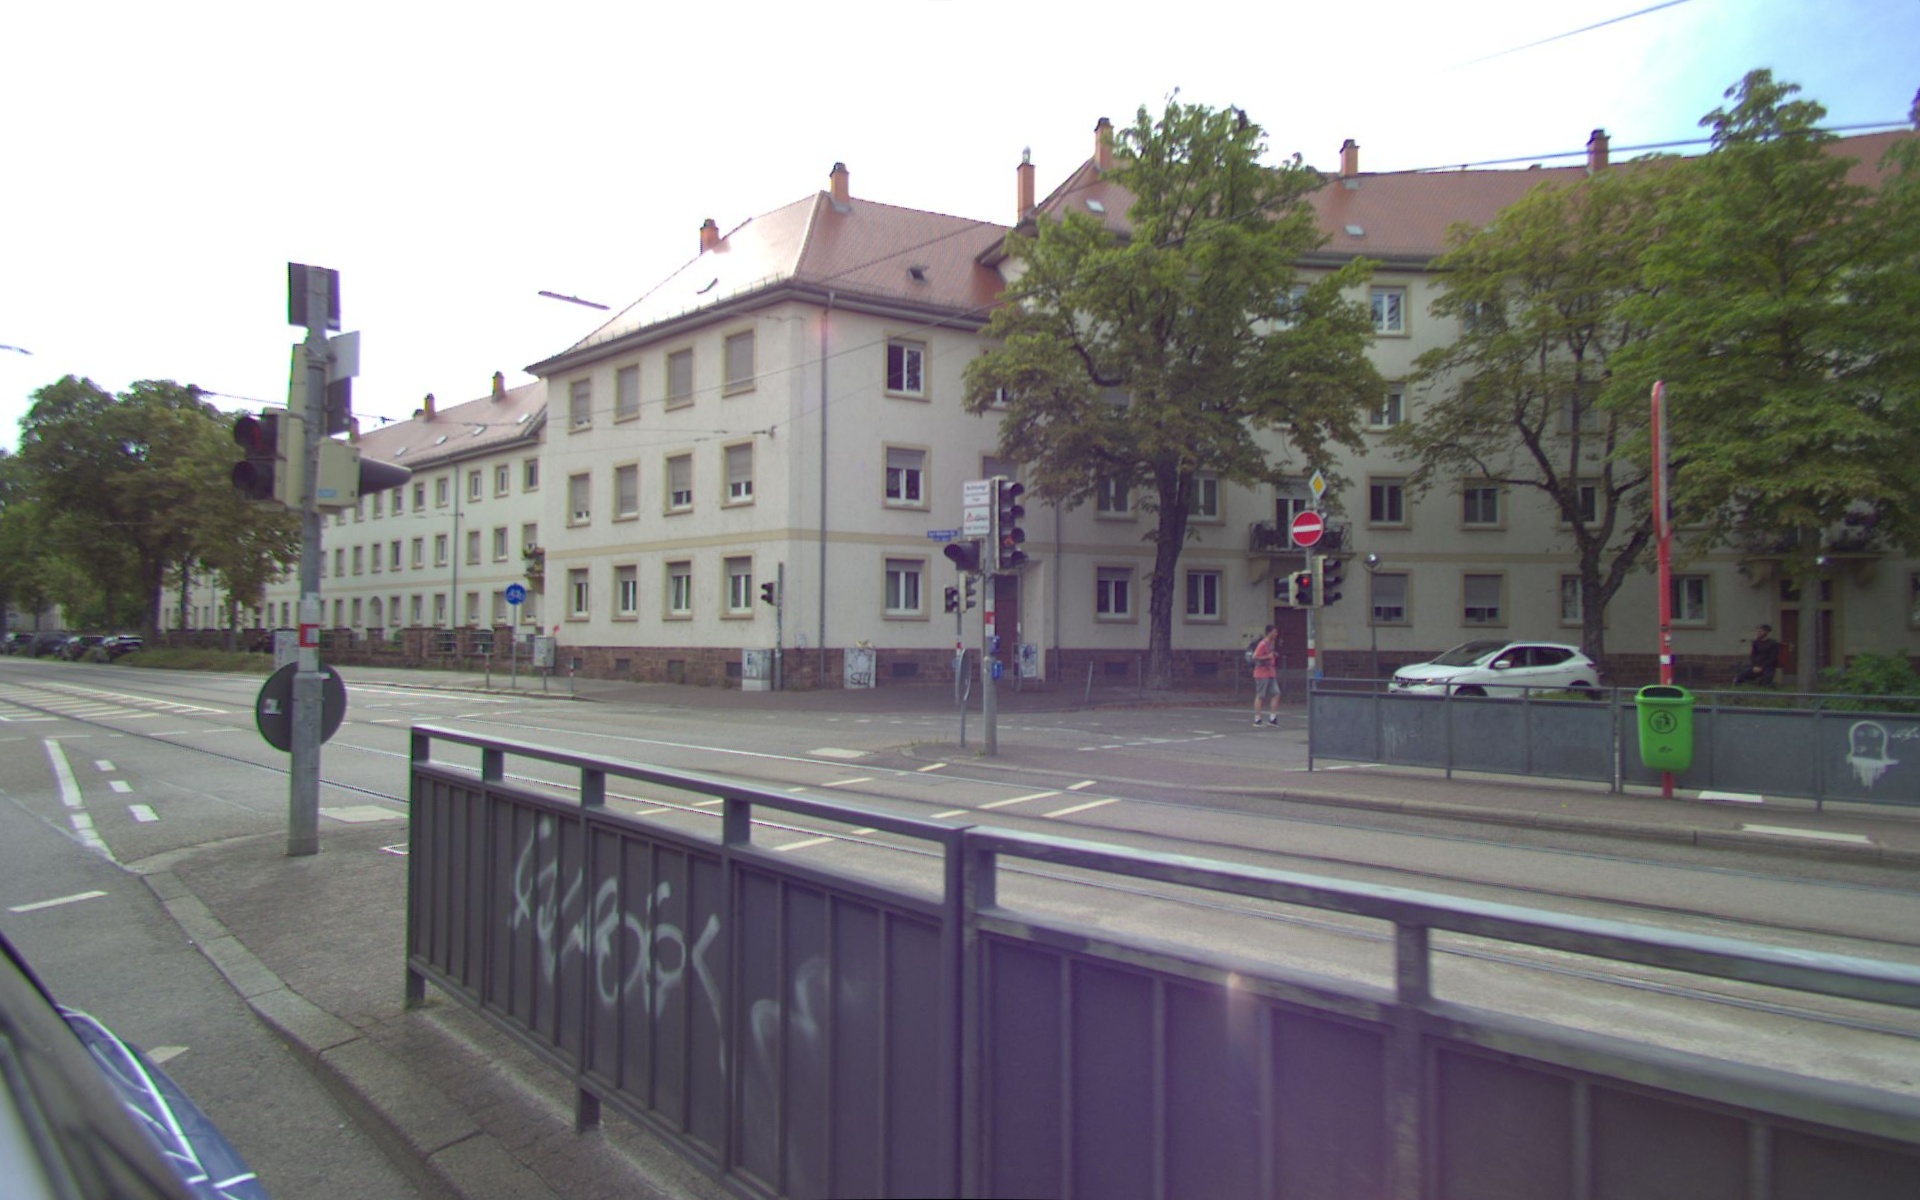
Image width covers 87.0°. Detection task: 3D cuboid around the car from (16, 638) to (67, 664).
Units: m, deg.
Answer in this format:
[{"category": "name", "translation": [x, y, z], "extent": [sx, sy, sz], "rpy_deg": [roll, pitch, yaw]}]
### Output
[{"category": "car", "translation": [-59.368, 3.262, 65.389], "extent": [4.295, 1.624, 1.768], "rpy_deg": [-2, -4, 39]}]

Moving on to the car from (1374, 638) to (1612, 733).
[{"category": "car", "translation": [11.058, 1.757, 21.113], "extent": [4.091, 1.734, 1.845], "rpy_deg": [3, -2, -11]}]

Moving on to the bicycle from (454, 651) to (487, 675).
[{"category": "bicycle", "translation": [-18.910, 2.434, 39.109], "extent": [1.670, 0.922, 0.473], "rpy_deg": [-2, -4, 40]}]

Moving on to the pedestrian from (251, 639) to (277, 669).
[{"category": "pedestrian", "translation": [-34.273, 2.654, 49.824], "extent": [0.731, 1.476, 0.825], "rpy_deg": [-2, -4, 34]}]

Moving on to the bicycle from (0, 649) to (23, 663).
[{"category": "bicycle", "translation": [-70.054, 4.113, 74.339], "extent": [0.670, 0.978, 1.655], "rpy_deg": [-1, -3, 30]}]

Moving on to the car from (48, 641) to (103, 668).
[{"category": "car", "translation": [-50.629, 3.100, 57.922], "extent": [4.295, 1.434, 1.680], "rpy_deg": [-2, -2, 39]}]

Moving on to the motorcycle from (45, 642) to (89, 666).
[{"category": "motorcycle", "translation": [-53.515, 3.205, 60.639], "extent": [0.590, 1.269, 1.850], "rpy_deg": [-2, 2, 35]}]

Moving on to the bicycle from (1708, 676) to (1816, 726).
[{"category": "bicycle", "translation": [16.056, 2.021, 20.288], "extent": [1.560, 0.944, 0.606], "rpy_deg": [0, -3, 12]}]

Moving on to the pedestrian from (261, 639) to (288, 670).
[{"category": "pedestrian", "translation": [-33.316, 2.637, 49.170], "extent": [0.731, 1.476, 0.825], "rpy_deg": [-2, -4, 34]}]

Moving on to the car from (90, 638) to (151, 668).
[{"category": "car", "translation": [-44.139, 2.769, 53.198], "extent": [4.295, 1.434, 1.680], "rpy_deg": [-2, -1, 39]}]

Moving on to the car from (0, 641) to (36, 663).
[{"category": "car", "translation": [-66.663, 3.634, 71.204], "extent": [4.292, 1.482, 1.681], "rpy_deg": [-2, -4, 37]}]

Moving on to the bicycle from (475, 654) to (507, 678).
[{"category": "bicycle", "translation": [-18.578, 2.588, 40.074], "extent": [1.670, 0.922, 0.473], "rpy_deg": [-2, -4, 40]}]

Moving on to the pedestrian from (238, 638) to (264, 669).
[{"category": "pedestrian", "translation": [-35.609, 2.685, 50.851], "extent": [0.731, 1.524, 0.825], "rpy_deg": [-2, -4, 34]}]

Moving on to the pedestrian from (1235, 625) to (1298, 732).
[{"category": "pedestrian", "translation": [5.659, 1.440, 18.701], "extent": [0.720, 1.915, 0.837], "rpy_deg": [2, -4, -33]}]

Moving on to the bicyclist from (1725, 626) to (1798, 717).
[{"category": "bicyclist", "translation": [16.072, 1.431, 20.317], "extent": [0.901, 1.789, 0.610], "rpy_deg": [0, -3, 12]}]
